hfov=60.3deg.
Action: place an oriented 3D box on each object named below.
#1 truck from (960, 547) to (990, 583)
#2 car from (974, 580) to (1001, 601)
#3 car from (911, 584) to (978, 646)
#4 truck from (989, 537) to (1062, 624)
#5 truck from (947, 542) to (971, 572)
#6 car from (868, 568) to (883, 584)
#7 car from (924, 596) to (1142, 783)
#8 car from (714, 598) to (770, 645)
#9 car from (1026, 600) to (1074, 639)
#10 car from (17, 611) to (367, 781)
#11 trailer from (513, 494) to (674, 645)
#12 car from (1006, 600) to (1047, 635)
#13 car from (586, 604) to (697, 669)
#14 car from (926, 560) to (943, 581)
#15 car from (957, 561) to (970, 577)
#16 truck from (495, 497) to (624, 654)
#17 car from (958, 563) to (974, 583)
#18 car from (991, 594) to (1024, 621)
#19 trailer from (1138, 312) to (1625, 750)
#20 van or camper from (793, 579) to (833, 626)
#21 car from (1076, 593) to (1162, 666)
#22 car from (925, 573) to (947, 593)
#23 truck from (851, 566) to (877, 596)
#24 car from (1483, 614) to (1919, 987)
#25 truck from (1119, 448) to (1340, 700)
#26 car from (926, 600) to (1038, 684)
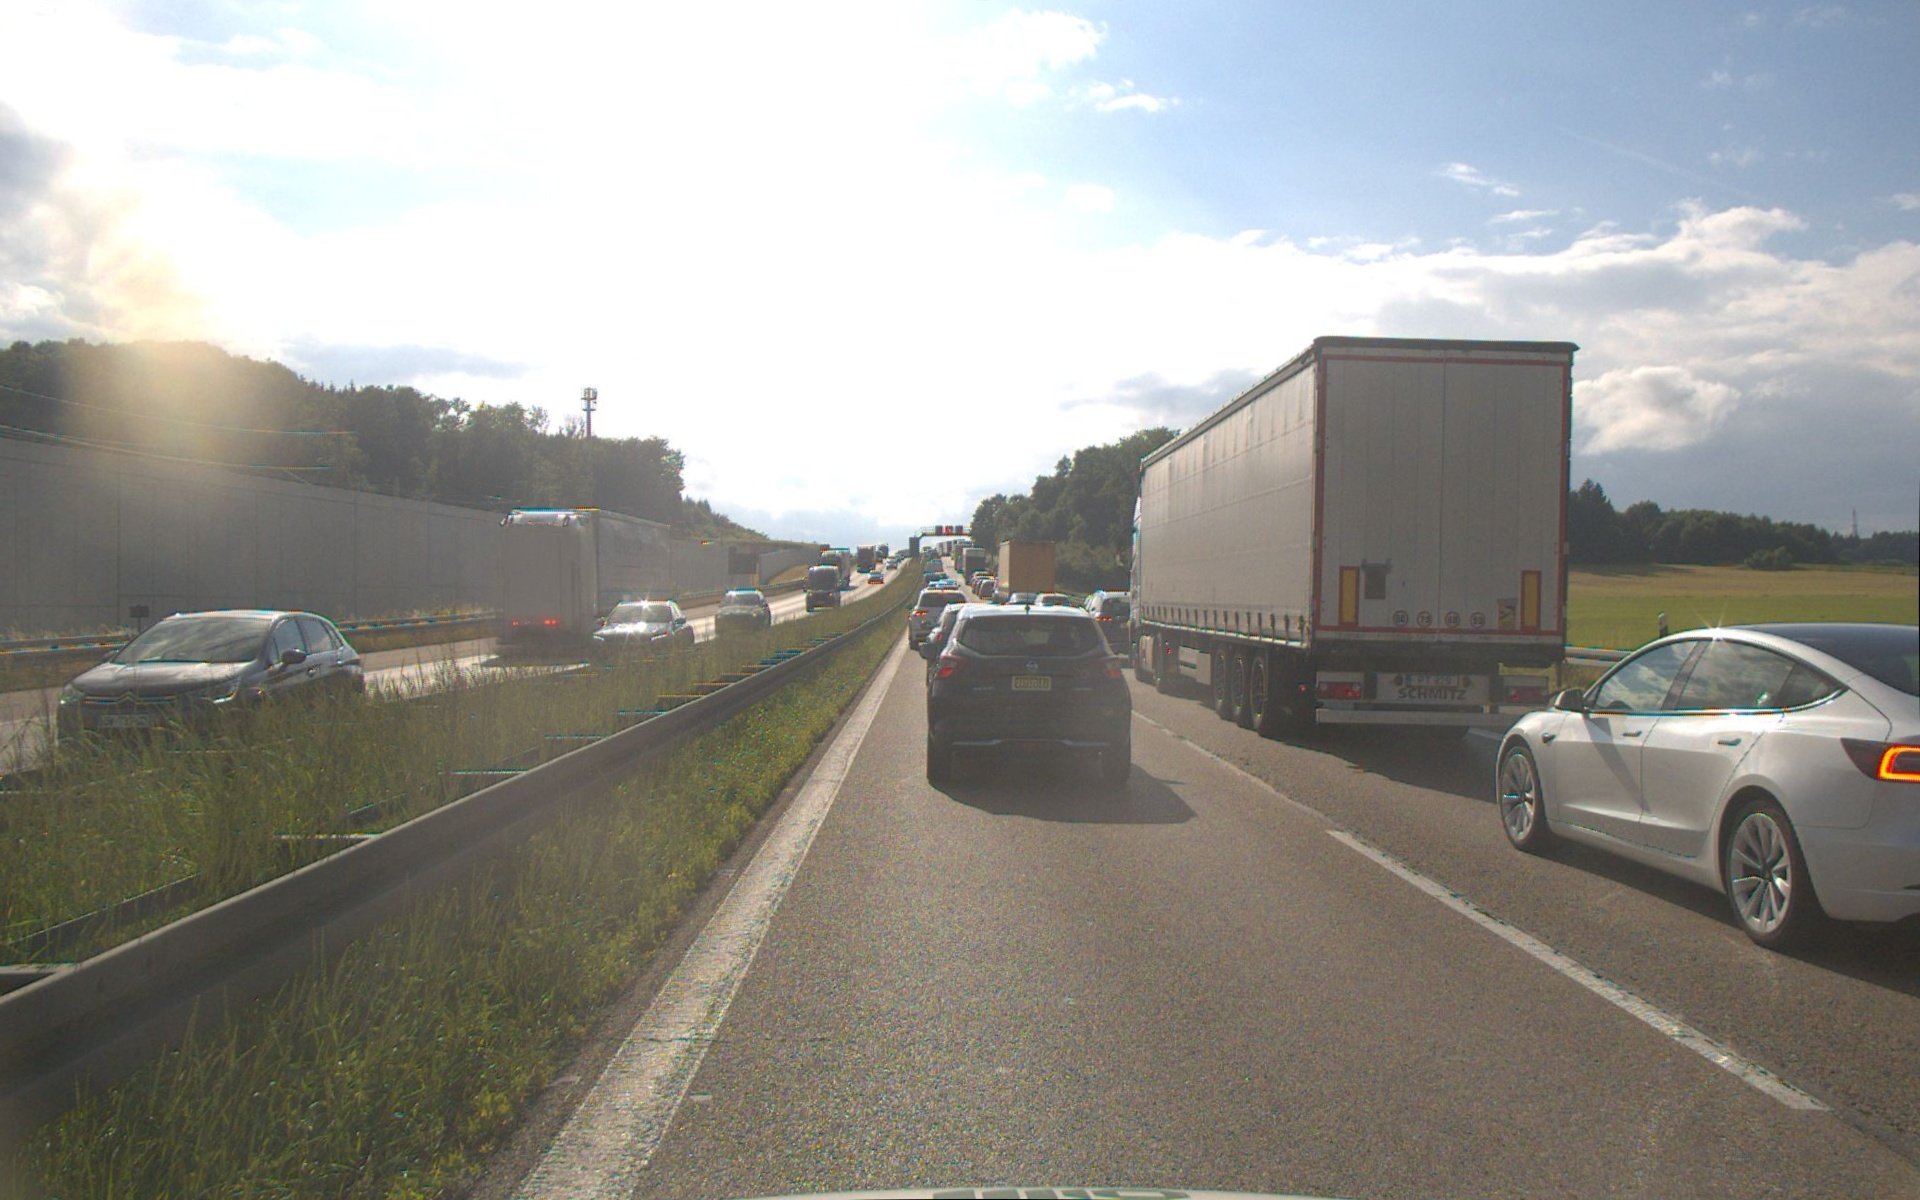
[{"bbox_3d":[1.906,-4.648,220.890,3.395,4.657,12.436,1,1,-2],"label":"truck"},{"bbox_3d":[2.288,-0.779,138.272,1.836,1.673,4.229,0,1,-4],"label":"car"},{"bbox_3d":[-0.446,0.414,47.019,1.835,1.673,4.231,0,0,-1],"label":"car"},{"bbox_3d":[3.685,-0.965,95.911,3.230,4.658,12.434,1,-1,-2],"label":"truck"},{"bbox_3d":[-0.237,-6.922,266.848,3.395,4.657,12.436,1,1,-2],"label":"truck"},{"bbox_3d":[-10.327,-2.928,202.010,1.709,1.735,4.230,-1,0,-2],"label":"car"},{"bbox_3d":[0.555,0.722,15.237,1.737,1.476,4.231,0,0,-1],"label":"car"},{"bbox_3d":[-8.202,0.792,62.374,1.674,1.736,4.172,0,0,-2],"label":"car"},{"bbox_3d":[3.950,0.865,72.965,1.835,1.673,4.231,0,0,-1],"label":"car"},{"bbox_3d":[-7.524,0.876,16.643,1.733,1.505,3.828,0,-1,0],"label":"car"},{"bbox_3d":[-11.540,-0.813,53.510,2.341,4.255,13.201,-1,0,-1],"label":"trailer"},{"bbox_3d":[3.328,0.857,82.887,1.835,1.673,4.231,0,0,-1],"label":"car"},{"bbox_3d":[-7.074,0.781,37.069,1.706,1.381,4.231,0,0,-1],"label":"car"},{"bbox_3d":[-2.913,-3.348,188.233,1.835,2.196,5.211,0,3,-1],"label":"car"},{"bbox_3d":[0.500,-4.683,250.178,1.835,2.196,5.211,0,3,-1],"label":"car"},{"bbox_3d":[-11.474,-0.647,47.855,2.332,4.254,5.930,-1,0,-1],"label":"truck"},{"bbox_3d":[0.667,-3.179,195.554,1.835,2.196,5.211,0,3,-1],"label":"car"},{"bbox_3d":[3.042,0.468,107.216,1.836,1.673,4.230,0,0,-3],"label":"car"},{"bbox_3d":[4.694,-0.517,22.254,3.067,4.081,13.363,1,-1,0],"label":"trailer"},{"bbox_3d":[-9.424,0.199,106.345,2.047,2.869,5.894,1,-1,-1],"label":"van or camper"},{"bbox_3d":[3.740,0.673,39.508,1.663,1.639,4.436,0,0,0],"label":"car"},{"bbox_3d":[-2.106,-1.482,143.850,1.835,1.673,4.231,0,1,-2],"label":"car"},{"bbox_3d":[-15.287,-3.031,264.692,3.229,4.634,12.442,0,0,1],"label":"truck"},{"bbox_3d":[4.420,0.804,8.715,1.753,1.418,4.434,0,0,-3],"label":"car"},{"bbox_3d":[4.658,-0.385,29.622,3.069,4.086,5.162,1,-1,0],"label":"truck"},{"bbox_3d":[0.340,0.698,29.206,1.835,1.381,4.231,0,0,-1],"label":"car"}]
